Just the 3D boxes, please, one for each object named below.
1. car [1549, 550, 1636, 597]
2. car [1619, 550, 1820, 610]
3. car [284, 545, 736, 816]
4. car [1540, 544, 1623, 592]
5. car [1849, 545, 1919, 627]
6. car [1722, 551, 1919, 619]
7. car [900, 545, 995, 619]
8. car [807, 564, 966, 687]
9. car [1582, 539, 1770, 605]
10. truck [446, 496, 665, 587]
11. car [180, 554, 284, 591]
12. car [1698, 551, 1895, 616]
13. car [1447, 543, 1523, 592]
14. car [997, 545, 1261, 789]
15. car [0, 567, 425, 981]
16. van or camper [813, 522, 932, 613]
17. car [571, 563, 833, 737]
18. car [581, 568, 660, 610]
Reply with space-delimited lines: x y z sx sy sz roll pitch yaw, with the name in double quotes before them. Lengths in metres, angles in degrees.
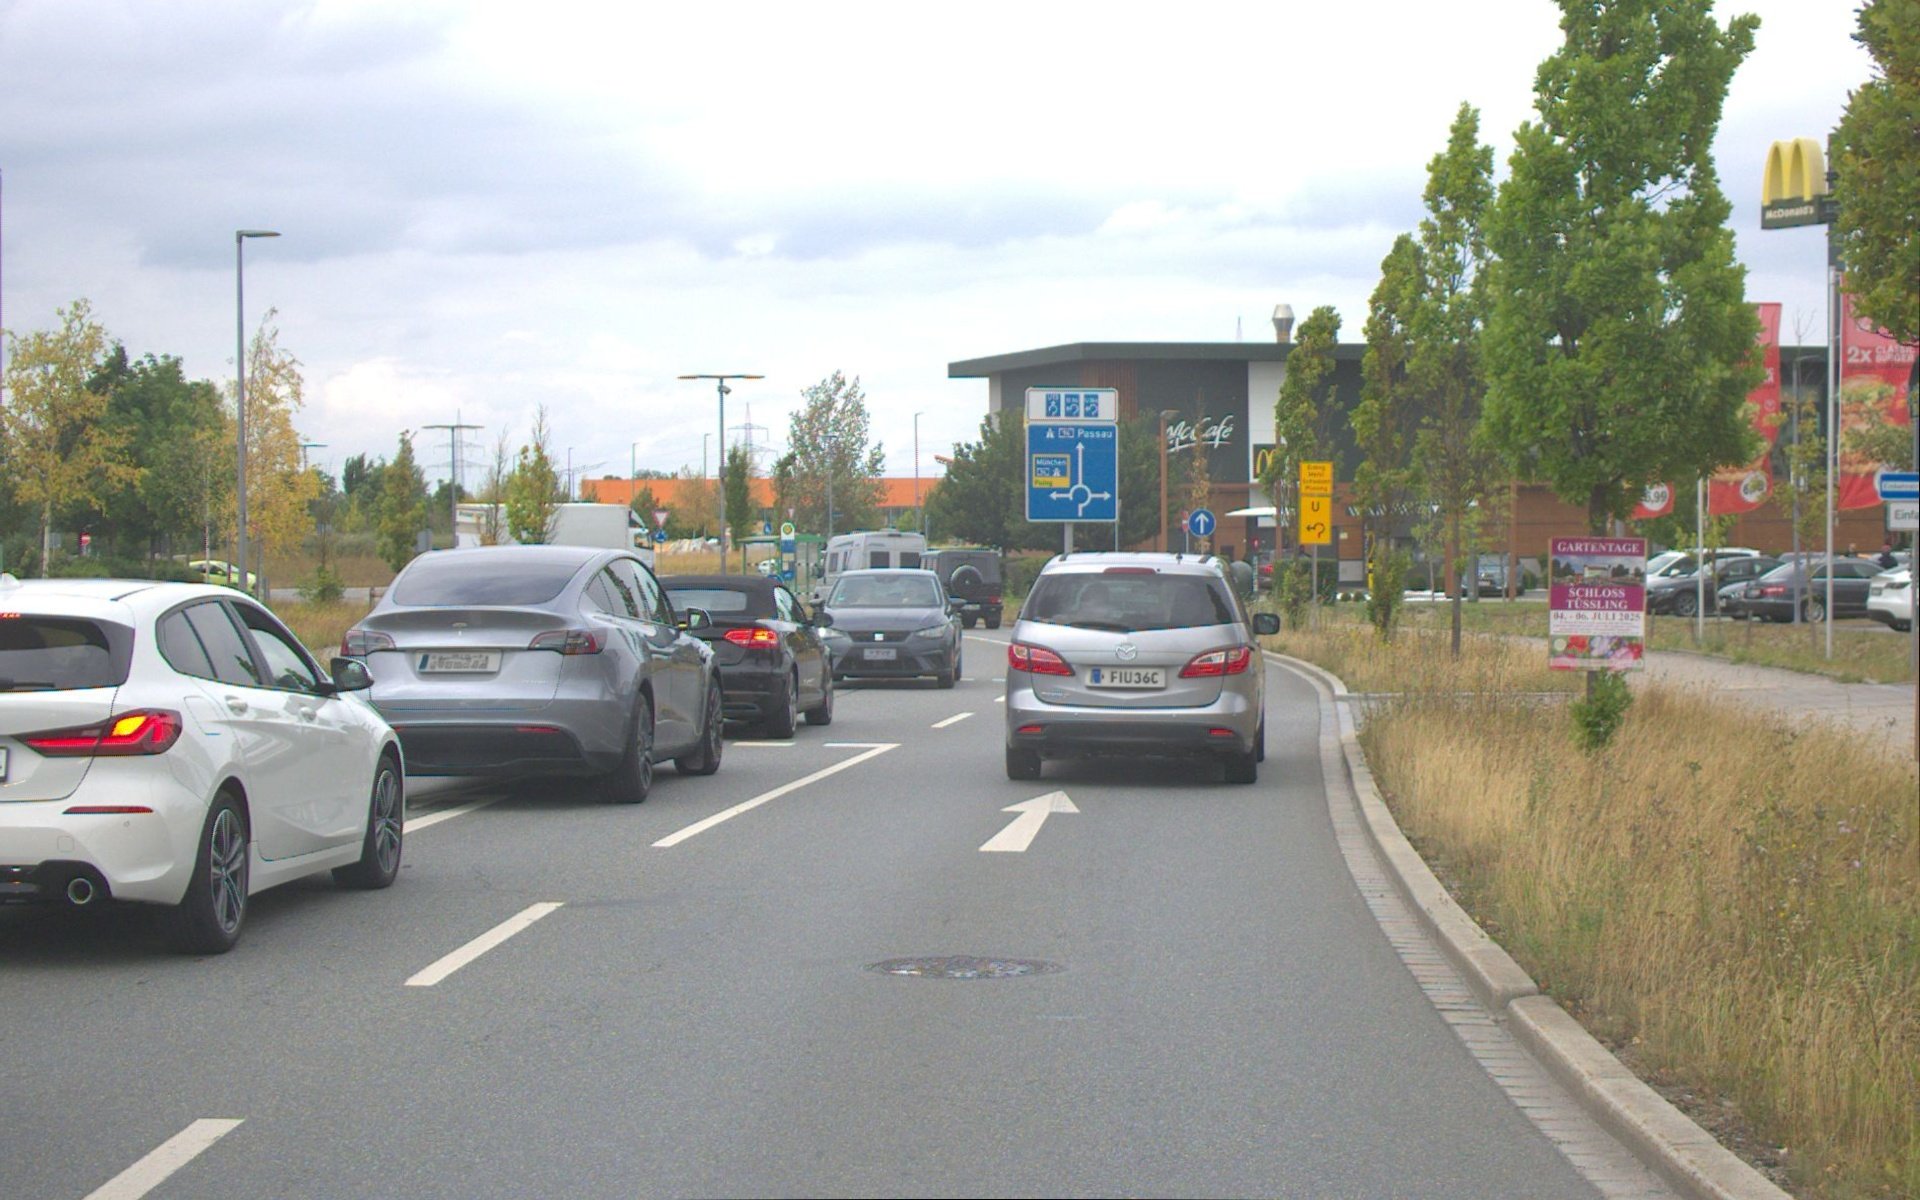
"car" 18.428 -0.781 100.079 1.813 1.308 3.845 0 1 21
"car" 19.062 -0.520 86.347 4.466 1.431 2.074 -1 1 -14
"car" -2.794 0.438 22.464 1.994 1.556 4.612 0 1 5
"car" 22.535 -1.166 124.540 2.118 1.711 4.225 1 1 23
"car" 21.094 -0.350 71.507 4.560 1.639 2.089 -2 1 -6
"car" 19.928 -0.363 78.468 4.516 1.464 2.033 -1 1 -11
"car" -0.355 -0.467 87.053 2.058 1.819 4.787 0 1 -4
"car" -0.855 0.275 42.314 1.829 1.415 4.246 0 1 1
"car" 18.489 -0.742 88.802 4.346 1.634 1.938 -1 1 -16
"truck" -17.697 -2.568 150.992 9.308 3.893 3.142 -1 1 -39
"car" -30.561 -1.144 144.413 3.986 1.510 2.000 0 1 -2
"car" 19.796 -0.396 81.444 4.082 1.433 1.943 -1 1 -13
"car" 18.793 -1.175 123.022 1.995 1.711 3.996 0 1 19
"car" 1.291 0.419 24.806 1.730 1.594 3.806 1 1 5
"car" -3.616 0.607 14.305 1.880 1.463 4.192 0 0 4
"van or camper" -2.505 -0.926 96.956 2.302 2.497 5.207 0 1 -14
"car" -2.218 0.410 30.632 1.769 1.433 4.230 0 0 3
"car" -12.682 -0.427 128.262 1.993 1.510 4.001 -1 1 -20
